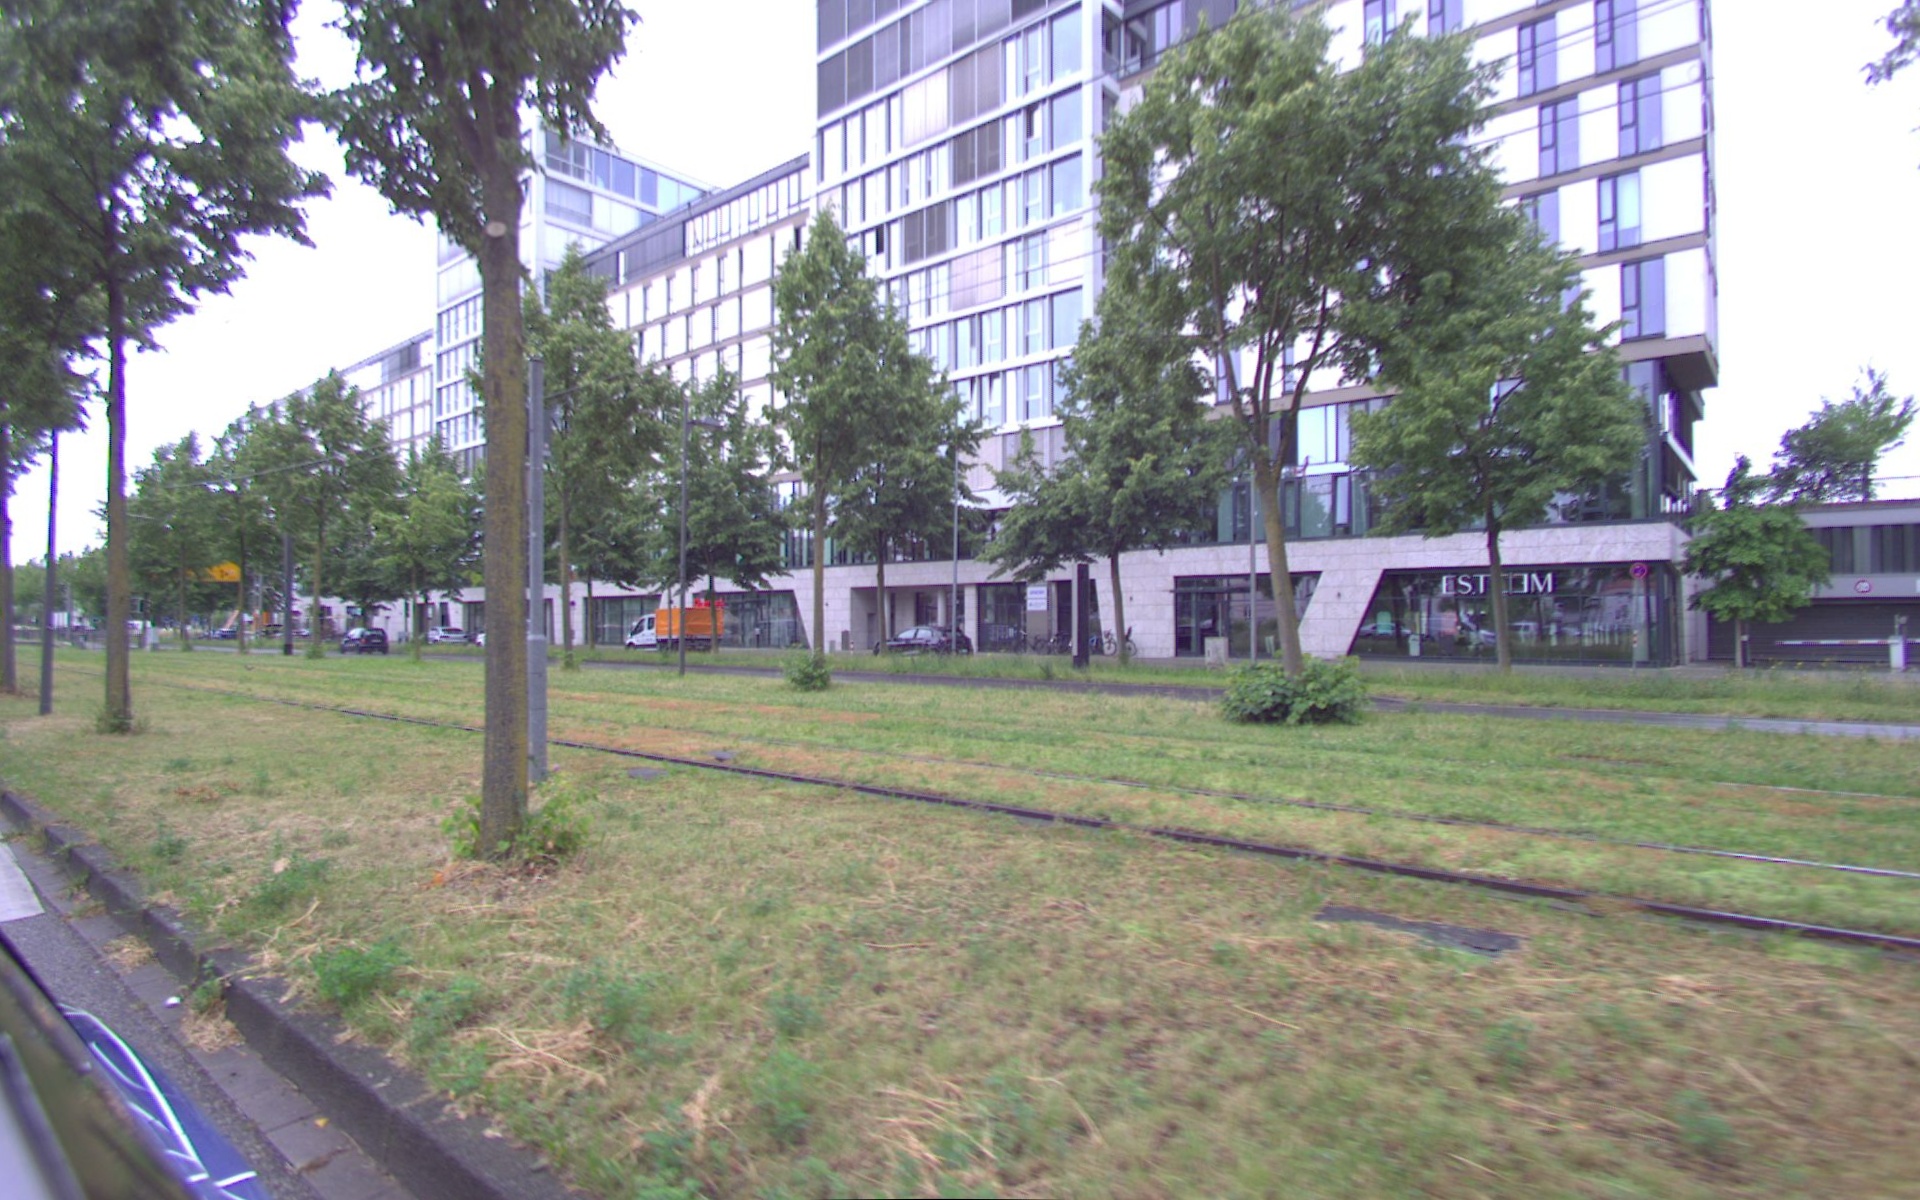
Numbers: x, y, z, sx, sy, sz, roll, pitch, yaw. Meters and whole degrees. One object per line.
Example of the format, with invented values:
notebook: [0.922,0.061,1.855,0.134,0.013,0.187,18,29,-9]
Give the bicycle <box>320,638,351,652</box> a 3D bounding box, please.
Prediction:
bicycle: [-49.048,3.516,79.456,0.696,1.042,1.957,-2,-2,42]

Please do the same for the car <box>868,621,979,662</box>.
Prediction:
car: [-1.392,1.523,37.711,3.985,1.476,1.836,-2,-2,40]

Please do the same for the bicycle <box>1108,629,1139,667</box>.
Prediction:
bicycle: [6.972,2.024,43.098,0.606,1.550,1.552,-2,-1,39]

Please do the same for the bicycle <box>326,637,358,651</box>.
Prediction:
bicycle: [-47.194,3.348,77.285,0.696,1.042,1.957,-2,-2,42]

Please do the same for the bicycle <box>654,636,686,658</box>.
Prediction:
bicycle: [-13.148,2.115,45.849,1.758,0.952,0.592,-2,-2,44]

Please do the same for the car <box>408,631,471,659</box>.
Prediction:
car: [-33.999,2.912,66.103,4.460,1.725,2.123,-2,-2,40]

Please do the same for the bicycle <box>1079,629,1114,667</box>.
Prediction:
bicycle: [5.887,2.052,43.689,0.680,1.550,1.686,-2,-1,39]

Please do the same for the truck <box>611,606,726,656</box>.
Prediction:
truck: [-14.482,1.515,50.082,6.305,2.309,2.401,-2,-2,41]

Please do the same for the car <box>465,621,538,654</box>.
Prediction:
car: [-27.512,2.247,60.653,5.160,1.866,1.973,-2,-2,40]

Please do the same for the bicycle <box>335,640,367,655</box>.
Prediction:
bicycle: [-45.784,3.577,76.060,0.696,1.042,1.957,-2,-2,42]

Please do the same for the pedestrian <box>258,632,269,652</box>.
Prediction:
pedestrian: [-62.478,3.767,90.783,0.793,1.704,0.703,-2,-2,43]

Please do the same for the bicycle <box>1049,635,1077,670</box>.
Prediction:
bicycle: [4.580,2.320,44.941,0.546,1.494,1.418,-2,-1,39]

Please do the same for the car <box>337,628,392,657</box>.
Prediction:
car: [-35.771,2.538,60.722,3.701,1.669,1.971,-2,-2,45]
